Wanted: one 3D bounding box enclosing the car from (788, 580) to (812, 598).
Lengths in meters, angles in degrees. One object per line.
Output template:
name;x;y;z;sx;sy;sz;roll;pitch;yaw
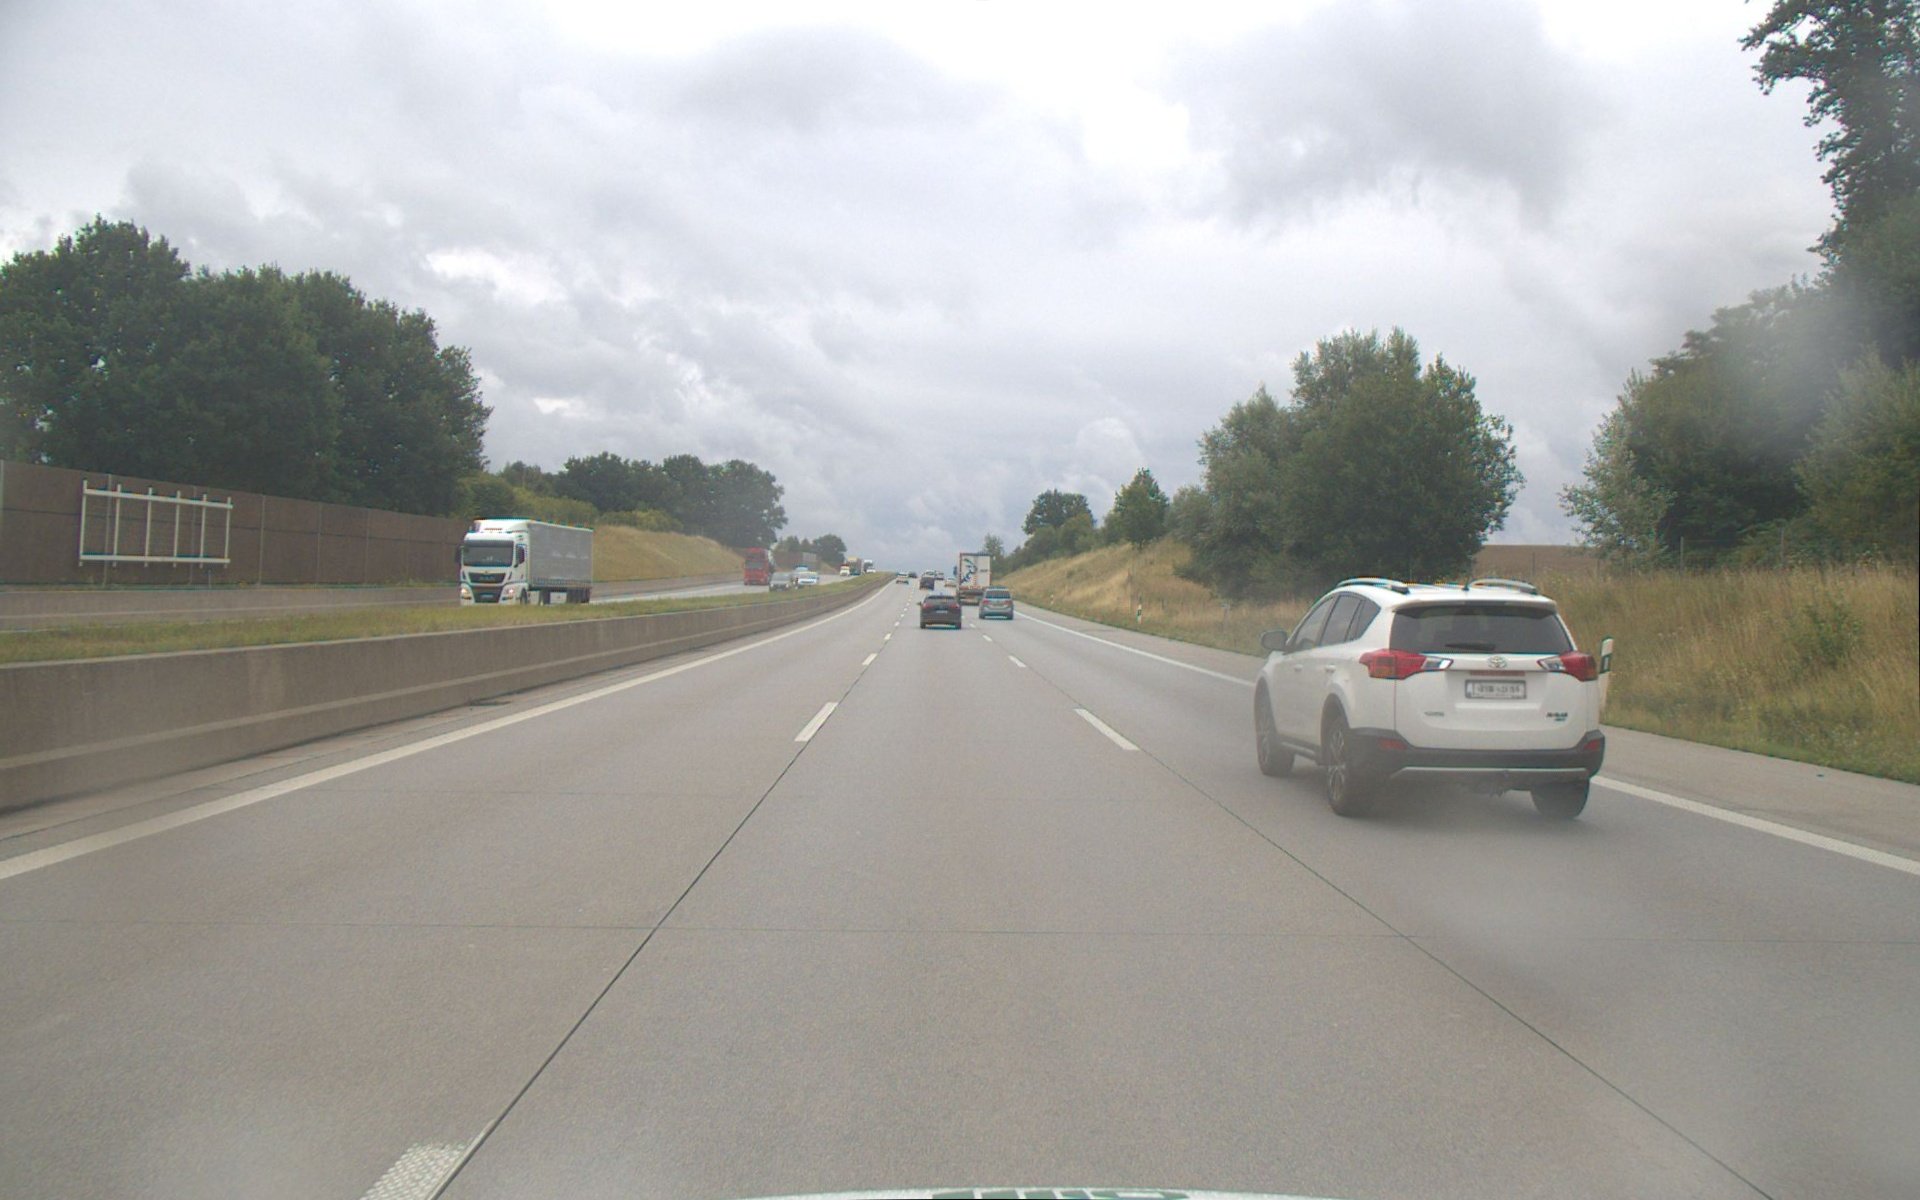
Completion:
car;-18.297;-1.231;189.253;2.105;2.049;5.748;1;0;0

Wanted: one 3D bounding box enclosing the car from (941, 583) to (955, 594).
car;-1.837;-1.707;245.472;1.952;1.668;4.000;1;0;1

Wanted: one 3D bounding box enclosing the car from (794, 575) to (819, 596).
car;-14.683;-1.366;158.599;1.953;1.919;5.511;1;0;-2

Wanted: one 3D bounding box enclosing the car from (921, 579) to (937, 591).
car;-3.920;-1.866;210.750;1.895;1.399;4.594;2;-1;0

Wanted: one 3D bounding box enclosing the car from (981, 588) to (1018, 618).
car;2.113;0.161;89.803;1.952;1.557;4.000;1;0;1

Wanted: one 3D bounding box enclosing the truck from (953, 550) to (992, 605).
truck;0.961;-1.758;133.842;2.956;4.253;8.352;1;0;-1

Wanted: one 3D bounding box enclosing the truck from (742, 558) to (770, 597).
truck;-23.083;-2.560;187.266;2.501;4.326;7.461;1;0;-2

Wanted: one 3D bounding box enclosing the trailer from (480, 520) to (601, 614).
trailer;-20.444;-1.512;81.628;2.642;4.167;14.001;1;0;-2

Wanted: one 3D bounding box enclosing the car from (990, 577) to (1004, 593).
car;4.998;-2.026;224.120;1.952;2.049;4.000;1;0;1

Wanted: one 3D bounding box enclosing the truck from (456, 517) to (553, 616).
truck;-20.260;-1.441;73.833;2.628;4.155;6.215;1;0;-1

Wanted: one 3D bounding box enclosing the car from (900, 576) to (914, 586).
car;-7.742;-2.772;241.575;1.907;1.379;4.259;1;0;0

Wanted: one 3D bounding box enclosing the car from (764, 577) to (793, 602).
car;-15.403;-0.881;140.258;1.953;1.952;5.344;1;2;-1

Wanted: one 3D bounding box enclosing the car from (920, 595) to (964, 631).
car;-0.792;0.531;69.213;1.717;1.422;4.482;1;0;-2

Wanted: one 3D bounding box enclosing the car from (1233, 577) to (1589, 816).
car;3.563;0.691;13.837;1.789;1.684;3.984;1;0;-1
